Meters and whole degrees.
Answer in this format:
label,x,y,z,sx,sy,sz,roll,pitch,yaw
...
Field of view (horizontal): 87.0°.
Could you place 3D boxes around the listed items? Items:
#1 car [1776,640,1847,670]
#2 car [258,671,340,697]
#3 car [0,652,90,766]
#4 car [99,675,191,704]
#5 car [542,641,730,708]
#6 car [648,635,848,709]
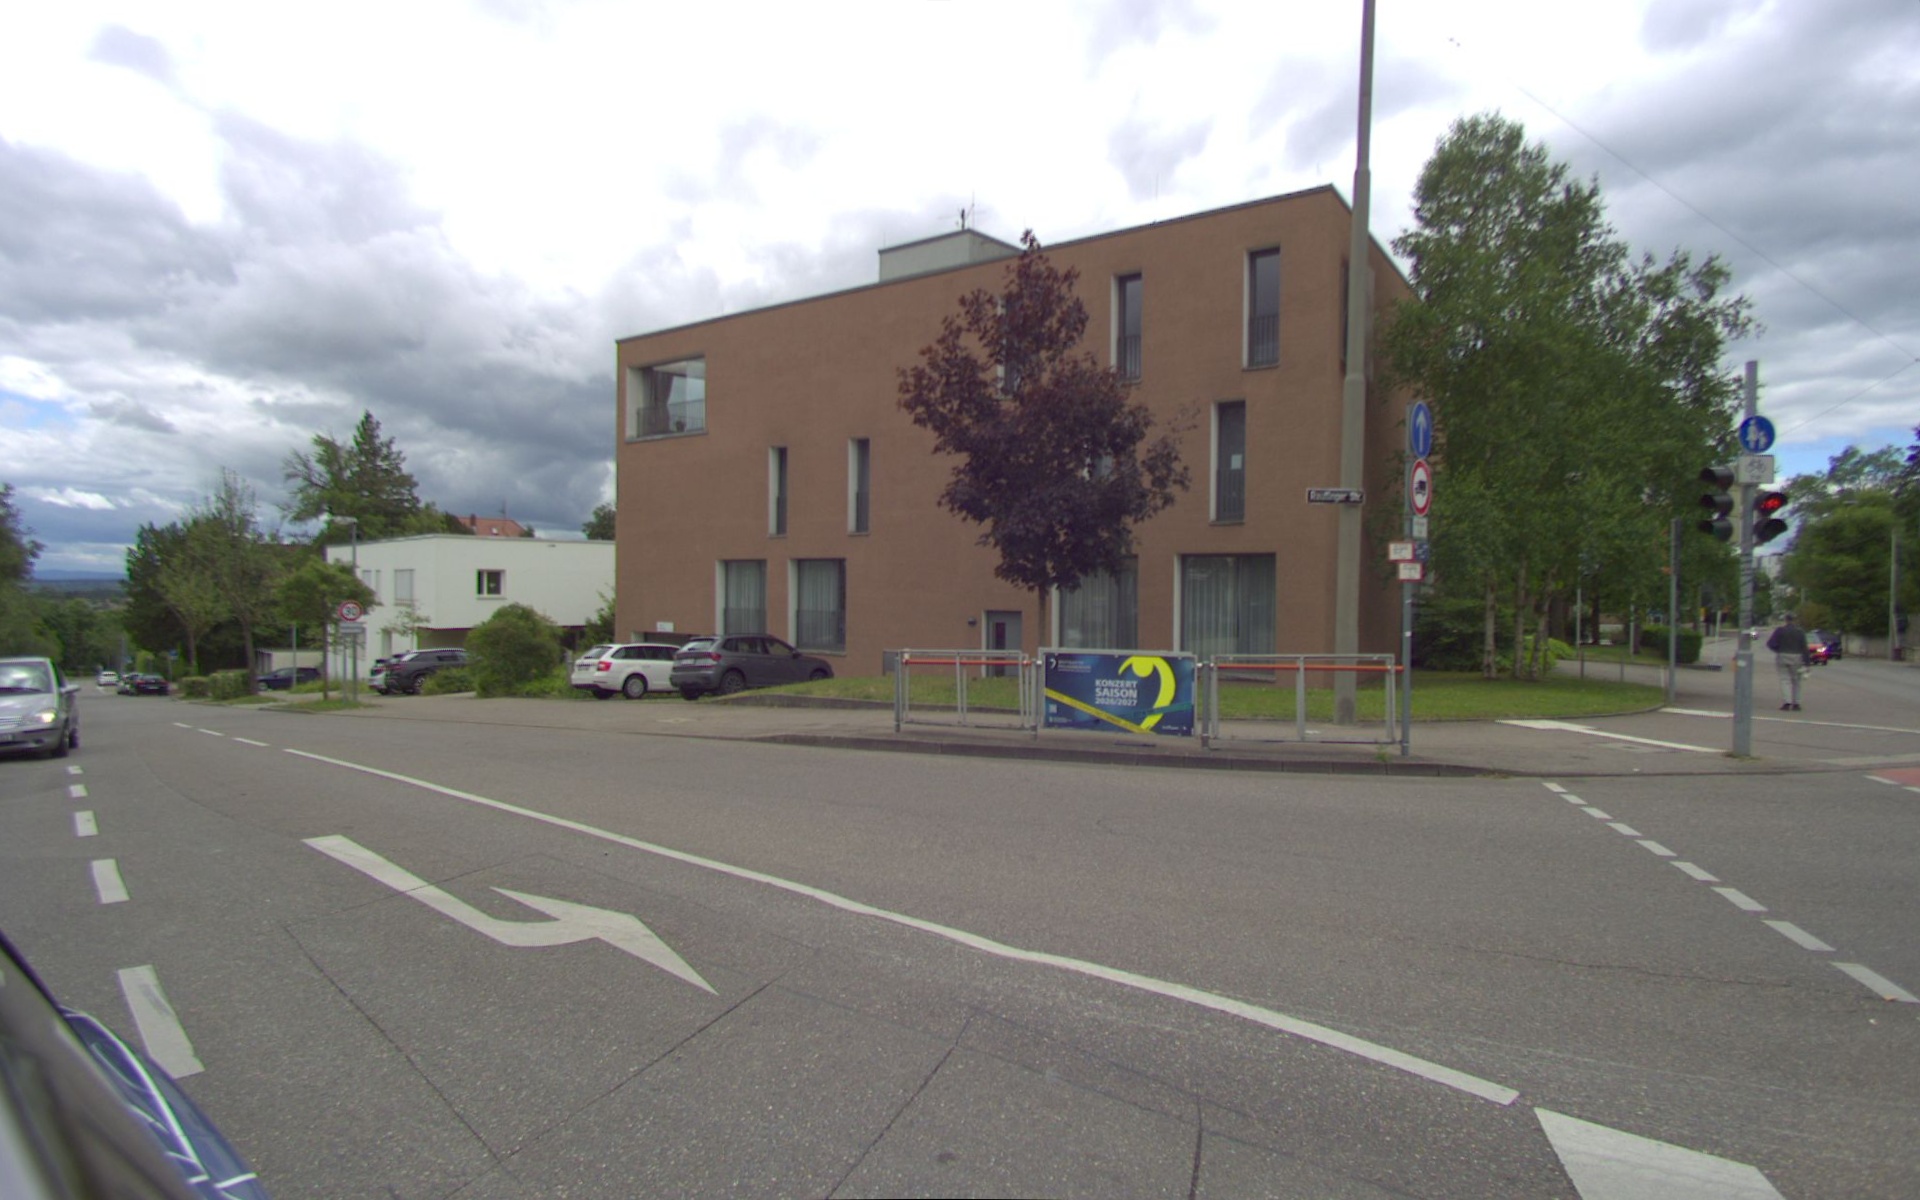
label,x,y,z,sx,sy,sz,roll,pitch,yaw
car,41.206,2.640,49.084,1.993,1.209,3.958,0,0,31
car,-45.652,5.796,69.928,1.999,1.570,4.375,-3,-3,42
car,-15.242,1.738,16.027,1.968,1.608,4.008,-1,-4,-37
car,-52.095,5.702,64.743,1.999,1.570,4.375,-2,-2,42
car,-8.492,1.906,26.803,1.999,1.570,4.375,-3,-3,42
car,-4.990,1.639,24.219,1.999,1.570,4.375,-3,-3,42
